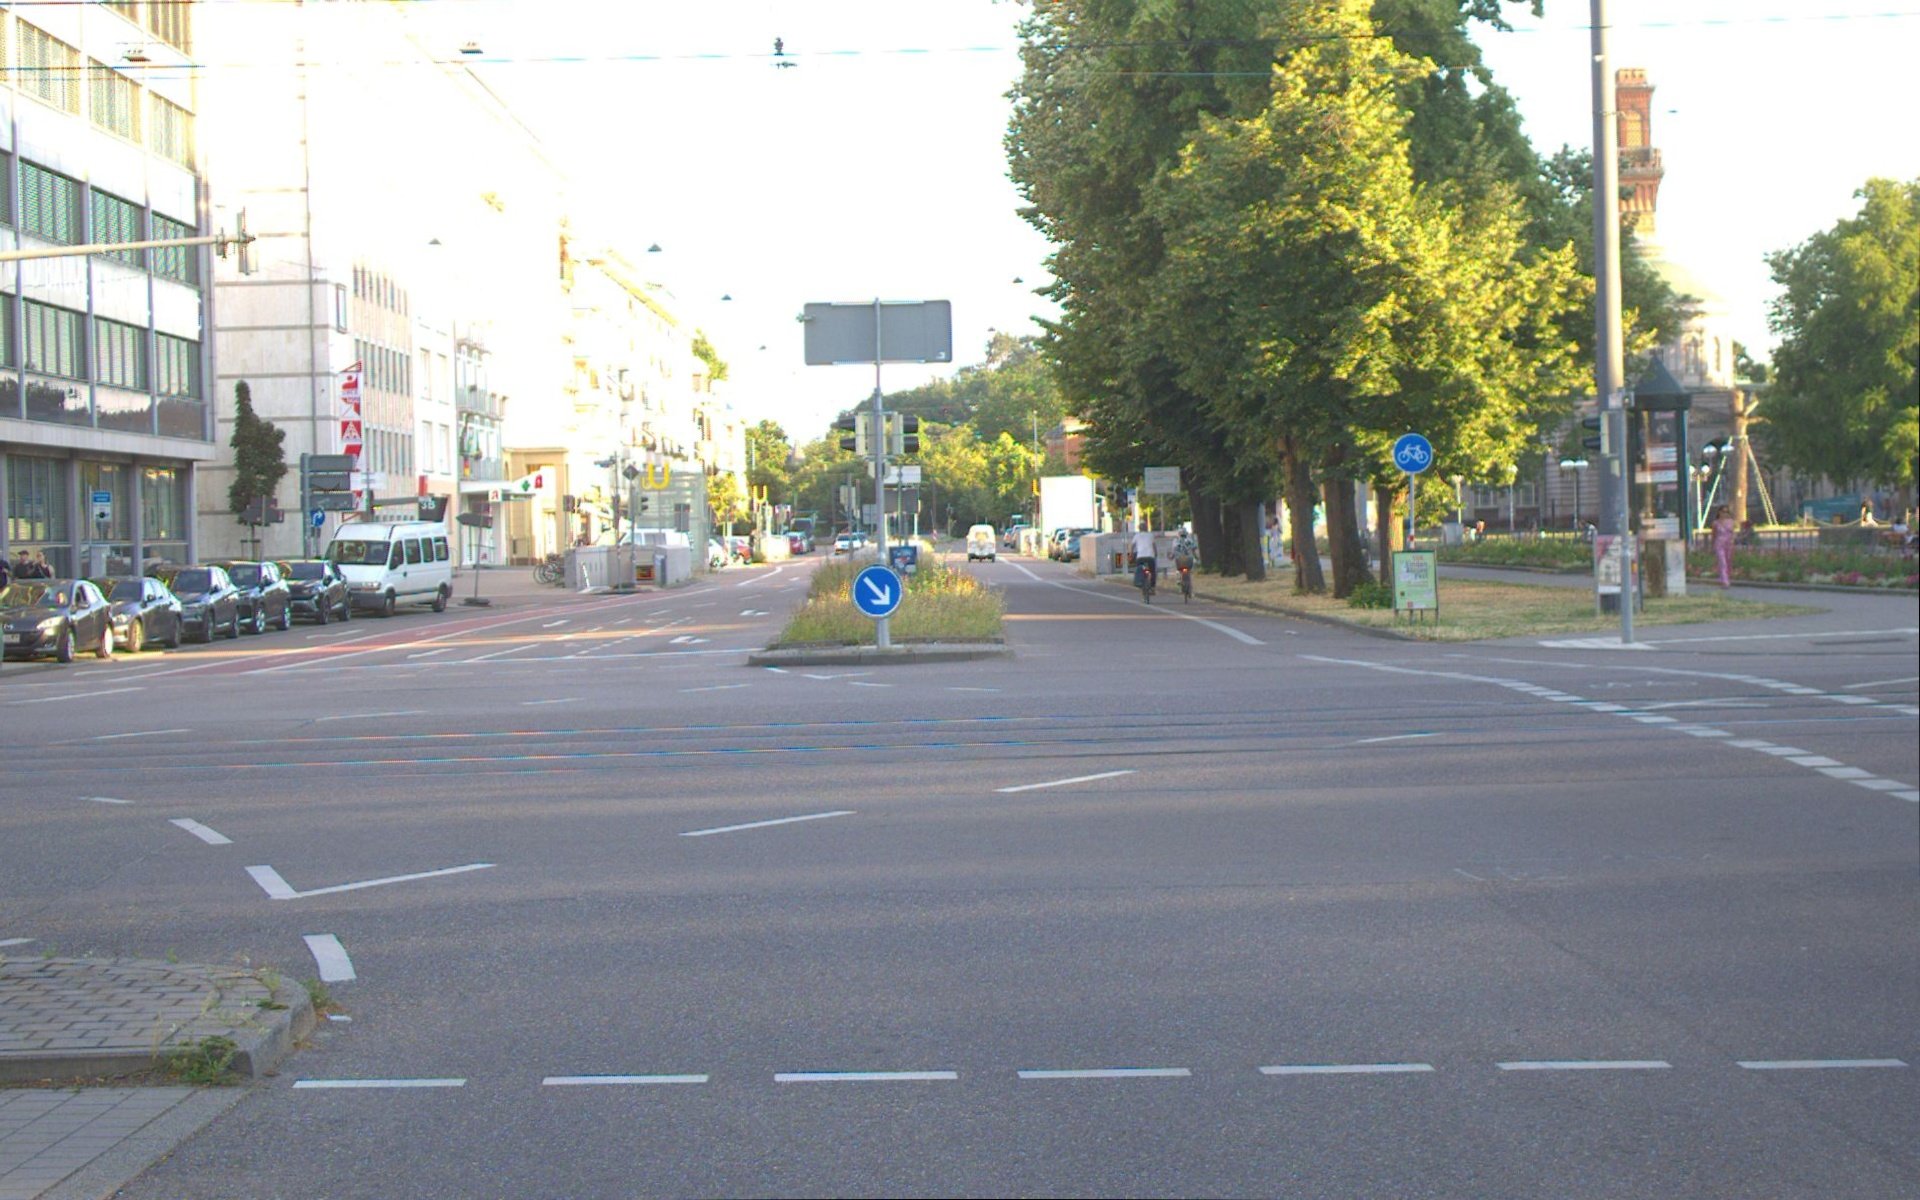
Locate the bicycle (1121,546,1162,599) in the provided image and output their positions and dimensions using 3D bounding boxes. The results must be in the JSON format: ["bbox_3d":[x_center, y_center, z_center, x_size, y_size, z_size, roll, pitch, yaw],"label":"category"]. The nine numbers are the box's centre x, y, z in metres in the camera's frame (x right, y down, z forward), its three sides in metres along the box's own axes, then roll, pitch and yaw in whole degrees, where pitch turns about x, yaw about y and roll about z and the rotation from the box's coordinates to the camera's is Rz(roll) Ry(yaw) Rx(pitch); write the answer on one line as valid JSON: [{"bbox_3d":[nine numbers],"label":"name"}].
[{"bbox_3d":[4.088,-0.634,77.615,0.746,1.140,2.505,-2,1,-1],"label":"bicycle"}]

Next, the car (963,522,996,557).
[{"bbox_3d":[0.952,-2.937,166.787,1.408,1.636,4.000,-2,1,-2],"label":"car"}]

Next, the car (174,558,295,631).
[{"bbox_3d":[-16.549,-0.149,78.559,1.920,1.563,4.000,-2,1,-1],"label":"car"}]

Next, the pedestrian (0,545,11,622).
[{"bbox_3d":[-21.253,-0.362,75.681,0.551,1.673,0.500,-2,1,-1],"label":"pedestrian"}]

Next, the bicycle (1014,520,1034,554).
[{"bbox_3d":[3.879,-3.849,208.397,1.002,2.007,4.000,-1,1,4],"label":"bicycle"}]

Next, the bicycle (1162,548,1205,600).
[{"bbox_3d":[5.034,-0.594,77.642,0.746,1.140,2.505,-2,1,-1],"label":"bicycle"}]

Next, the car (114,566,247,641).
[{"bbox_3d":[-16.571,0.054,73.258,1.920,1.459,4.000,-2,1,-1],"label":"car"}]

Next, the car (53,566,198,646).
[{"bbox_3d":[-16.568,0.103,68.443,1.920,1.459,4.000,-2,1,-1],"label":"car"}]

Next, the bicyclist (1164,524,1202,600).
[{"bbox_3d":[5.026,-0.865,77.557,0.746,1.685,0.799,-2,1,-1],"label":"bicyclist"}]

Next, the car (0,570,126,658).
[{"bbox_3d":[-16.479,0.233,61.947,1.920,1.459,4.103,-2,1,-1],"label":"car"}]

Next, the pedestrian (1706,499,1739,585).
[{"bbox_3d":[14.759,-1.130,66.550,0.460,1.651,0.567,-1,1,-1],"label":"pedestrian"}]

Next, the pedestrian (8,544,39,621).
[{"bbox_3d":[-20.657,-0.391,75.872,0.500,1.673,0.500,-2,1,-1],"label":"pedestrian"}]

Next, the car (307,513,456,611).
[{"bbox_3d":[-15.291,-1.053,91.236,2.002,2.469,5.865,-1,1,10],"label":"car"}]

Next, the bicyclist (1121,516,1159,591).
[{"bbox_3d":[4.047,-1.041,77.396,0.746,1.658,0.873,-2,1,-1],"label":"bicyclist"}]

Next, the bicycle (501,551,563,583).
[{"bbox_3d":[-15.815,-1.231,127.004,2.205,1.108,0.689,-2,1,-2],"label":"bicycle"}]

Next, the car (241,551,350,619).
[{"bbox_3d":[-16.351,-0.383,84.786,1.920,1.563,4.000,-2,1,-1],"label":"car"}]

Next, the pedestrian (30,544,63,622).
[{"bbox_3d":[-20.037,-0.375,75.401,0.551,1.673,0.500,-2,1,-1],"label":"pedestrian"}]

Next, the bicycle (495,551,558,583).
[{"bbox_3d":[-15.832,-1.220,125.492,2.205,1.108,0.619,-2,1,-2],"label":"bicycle"}]

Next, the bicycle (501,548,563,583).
[{"bbox_3d":[-16.033,-1.296,128.886,2.205,1.232,0.839,-2,1,-2],"label":"bicycle"}]

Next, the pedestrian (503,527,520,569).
[{"bbox_3d":[-21.494,-2.496,164.634,0.680,2.007,0.545,-2,1,0],"label":"pedestrian"}]
